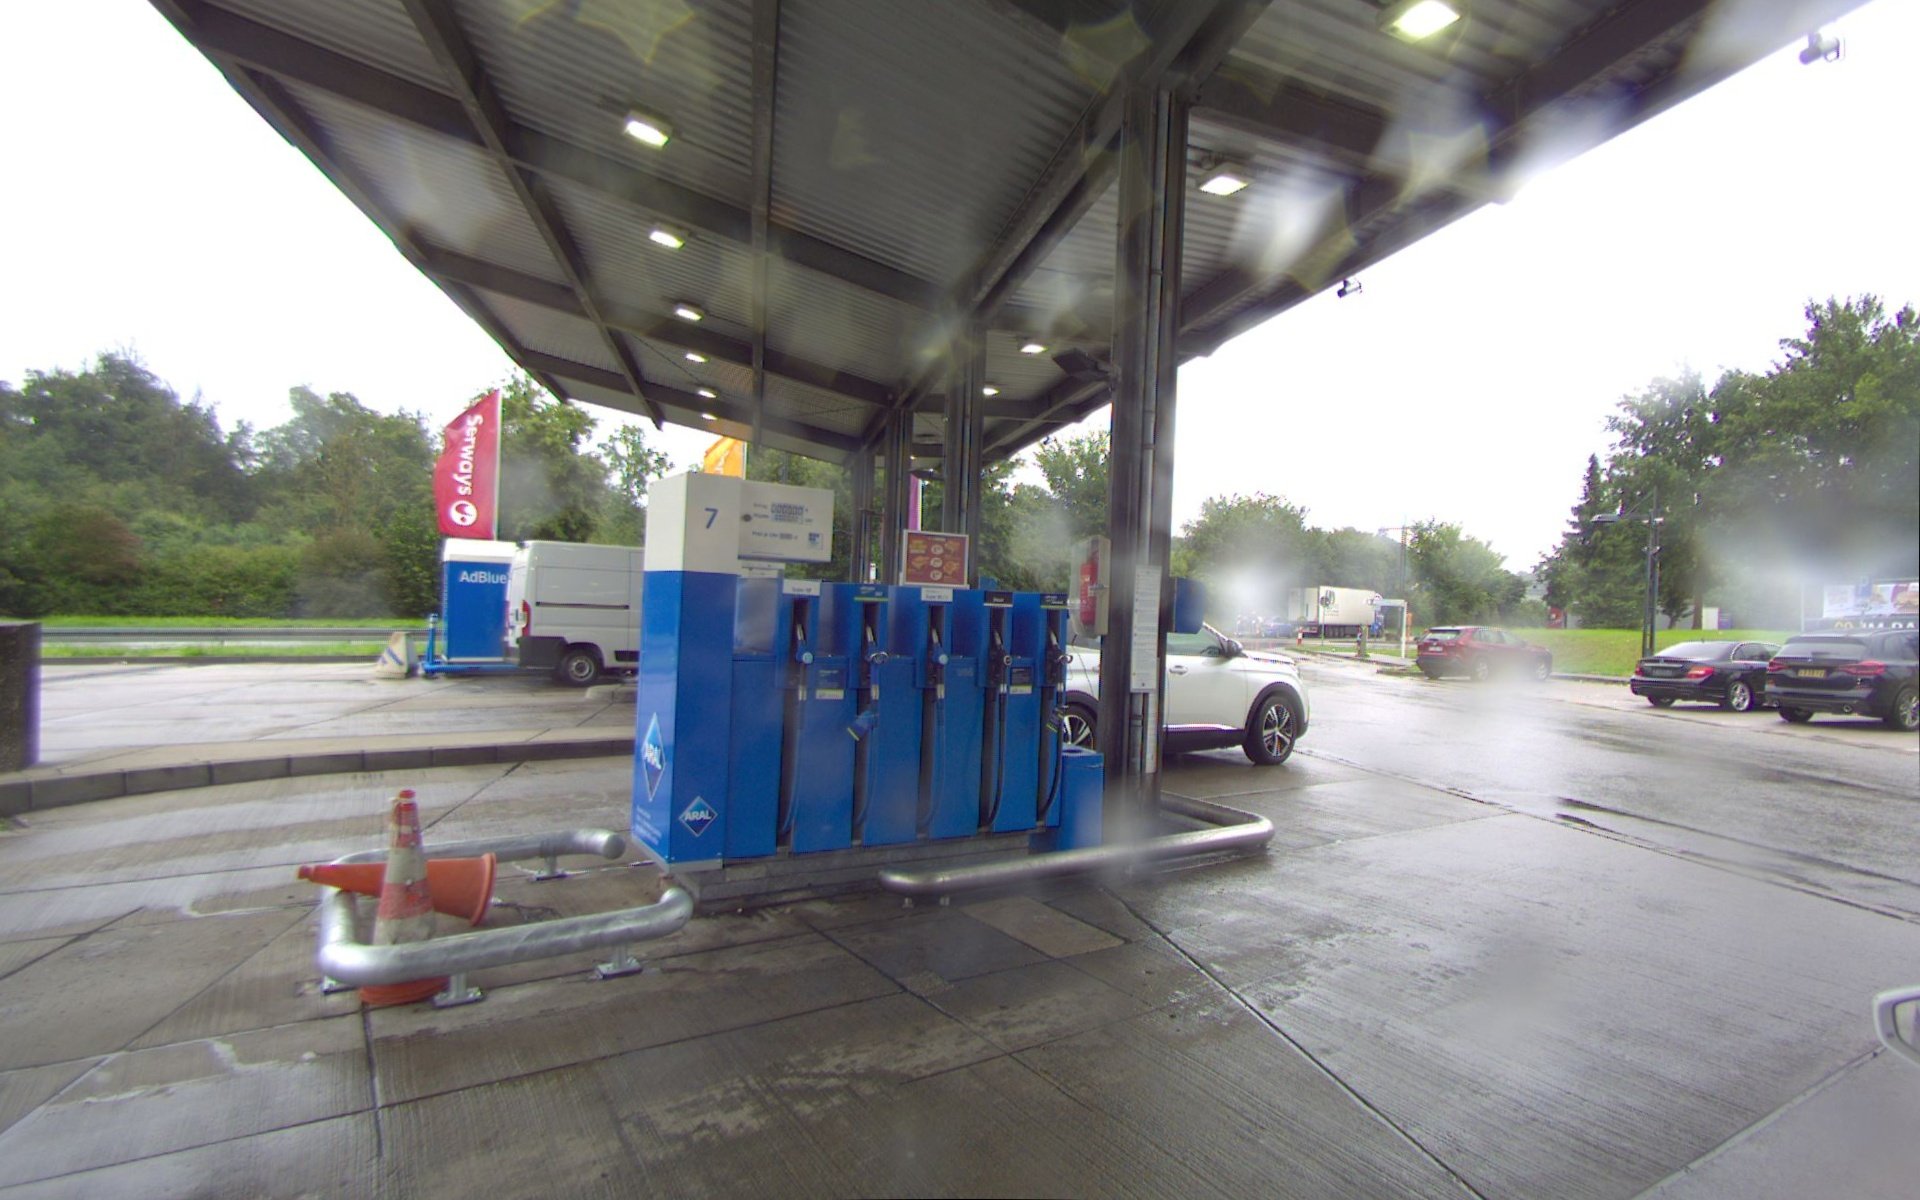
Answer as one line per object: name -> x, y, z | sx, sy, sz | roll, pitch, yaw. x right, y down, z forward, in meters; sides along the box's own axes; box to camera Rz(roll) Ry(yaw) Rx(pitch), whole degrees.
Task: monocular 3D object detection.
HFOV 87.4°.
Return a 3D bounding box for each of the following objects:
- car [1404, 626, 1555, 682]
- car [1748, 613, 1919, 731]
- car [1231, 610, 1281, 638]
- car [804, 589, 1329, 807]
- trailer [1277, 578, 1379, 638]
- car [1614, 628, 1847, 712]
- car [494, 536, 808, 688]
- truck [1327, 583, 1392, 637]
car -> 16.023, 1.641, 30.982 | 4.294, 1.617, 1.879 | 1, -1, -24
car -> 16.171, 1.186, 17.416 | 4.344, 1.852, 1.883 | 1, -1, -19
car -> 20.899, 1.652, 70.798 | 1.903, 1.862, 4.373 | 1, 0, 38
car -> 1.180, 0.759, 9.491 | 4.953, 1.586, 1.802 | 1, 0, -35
trailer -> 30.941, 0.743, 83.865 | 3.416, 4.618, 13.847 | 2, 0, 40
car -> 15.958, 1.414, 20.835 | 4.119, 1.585, 1.883 | 1, -1, -19
car -> -5.743, 0.263, 18.956 | 5.227, 2.496, 2.306 | 1, -1, -34
truck -> 35.614, 0.913, 89.469 | 3.416, 4.618, 6.704 | 2, 0, 40
